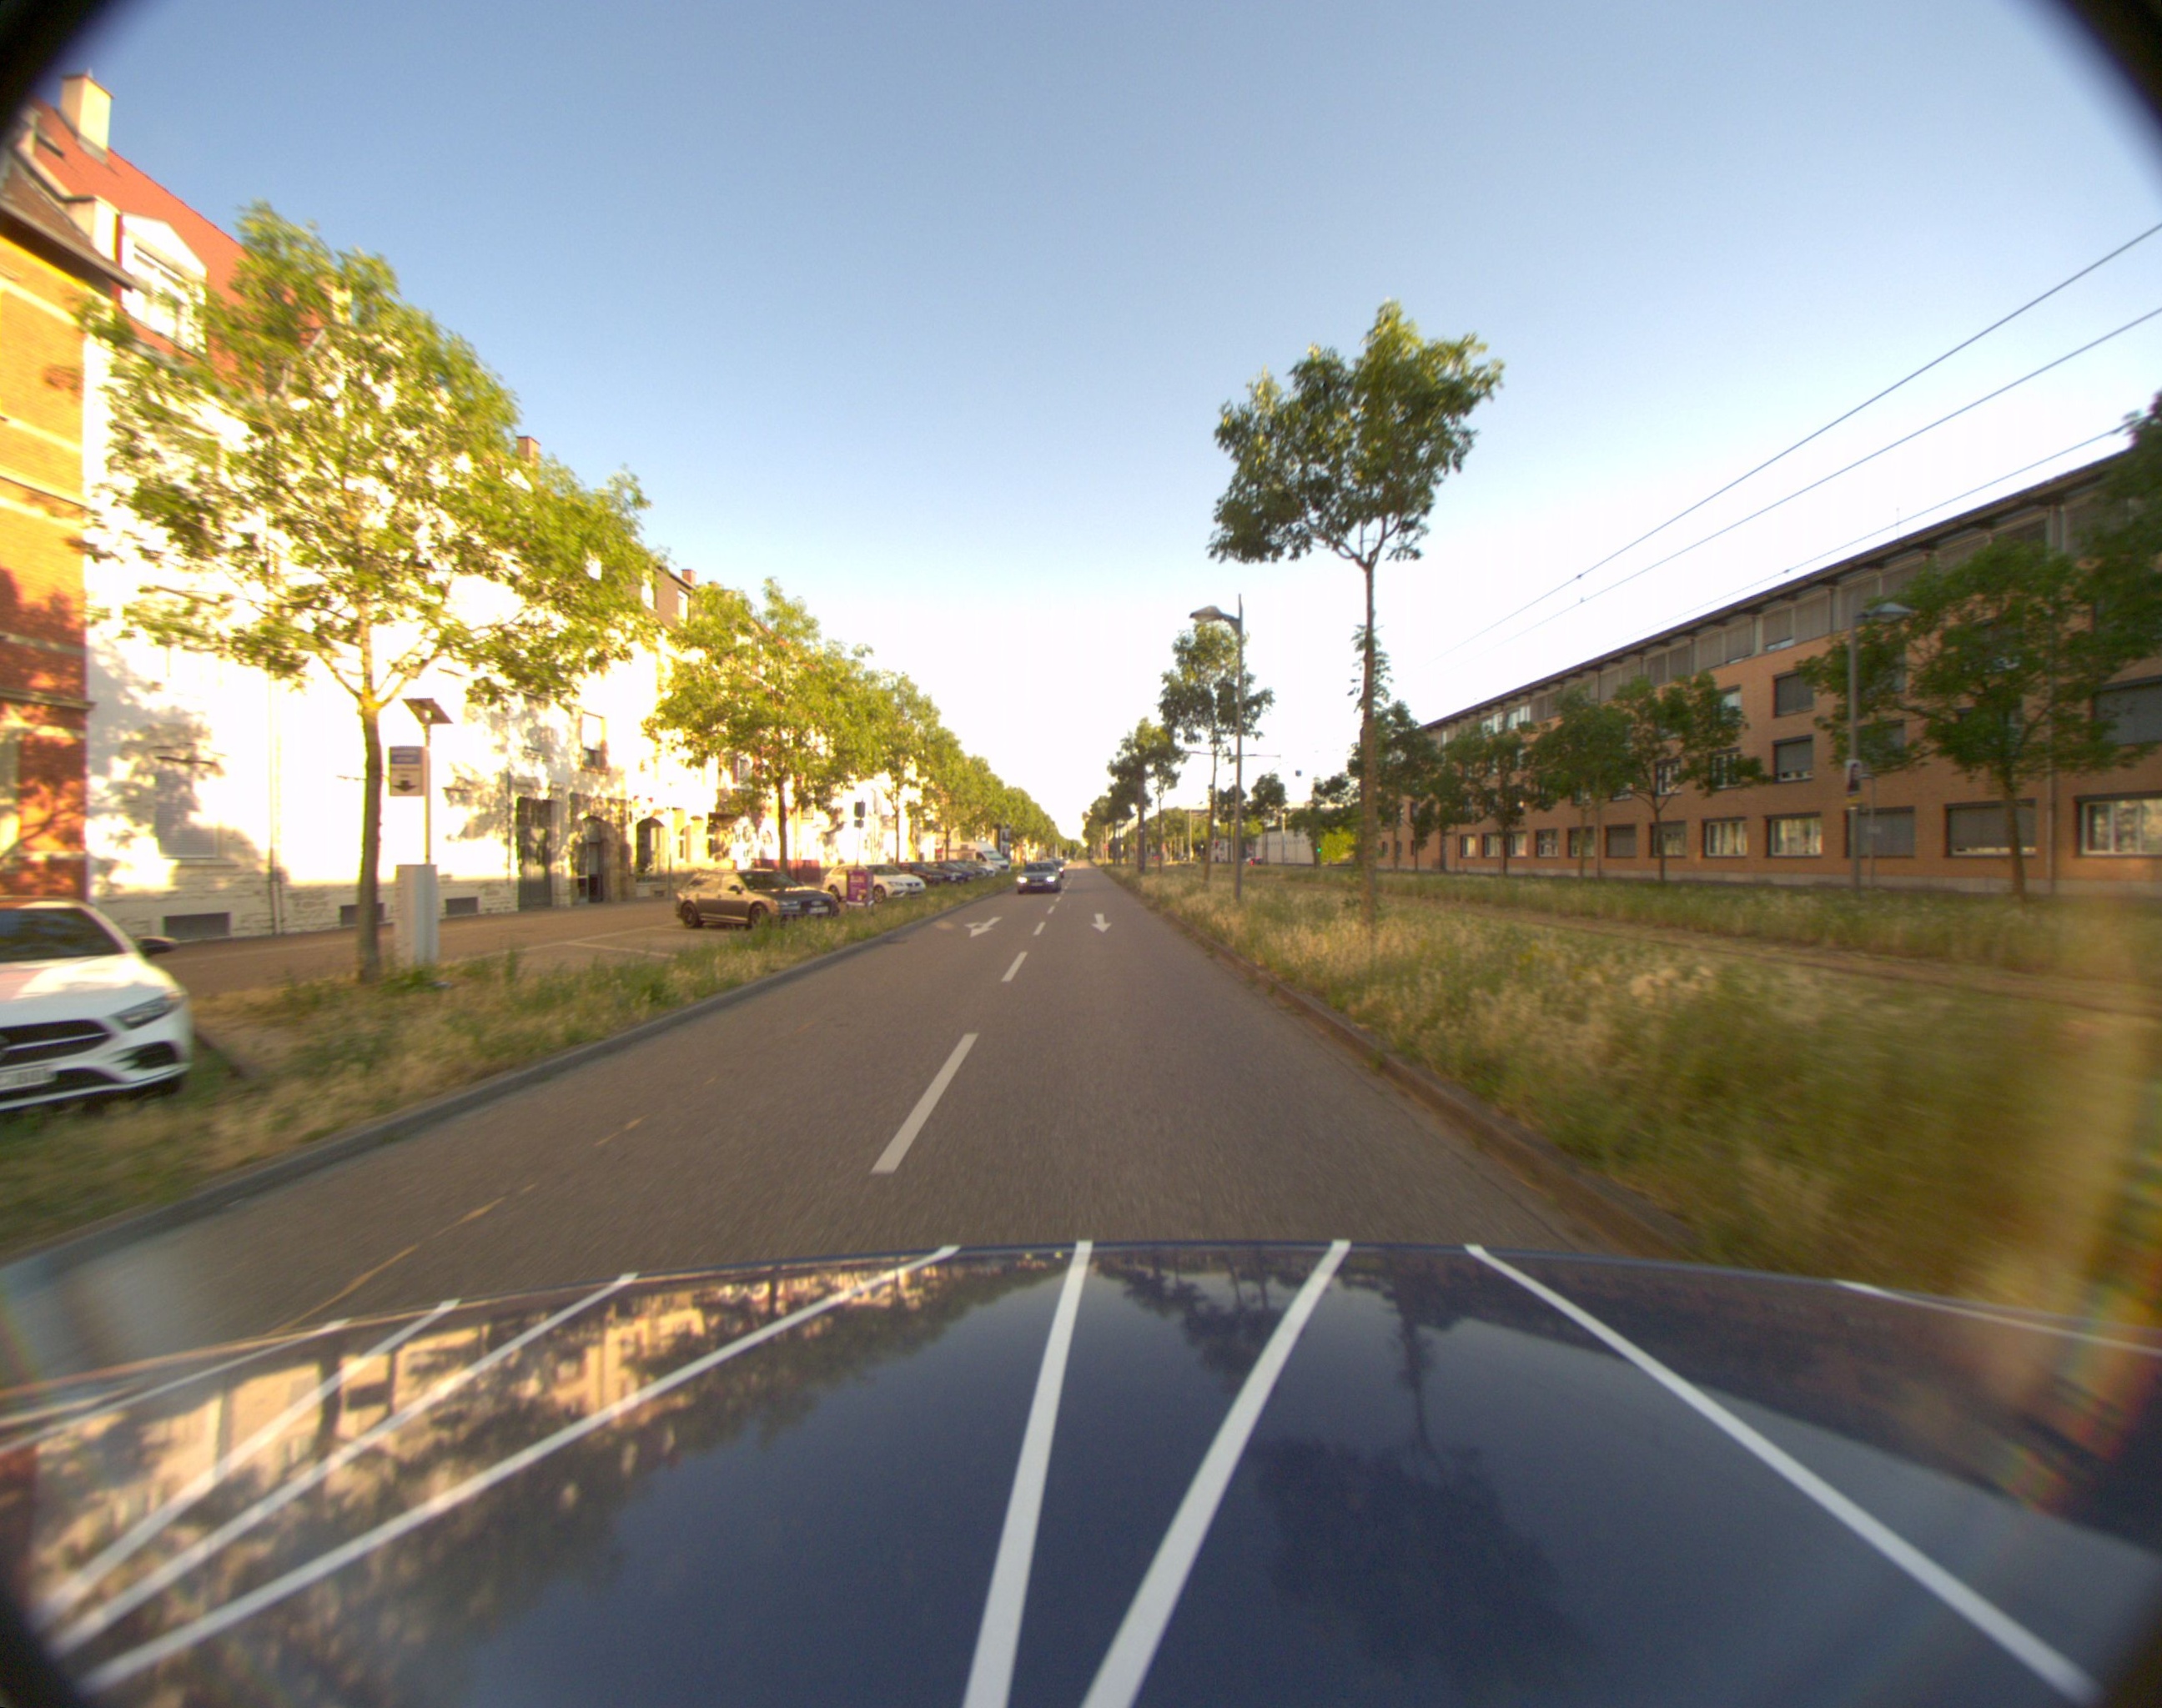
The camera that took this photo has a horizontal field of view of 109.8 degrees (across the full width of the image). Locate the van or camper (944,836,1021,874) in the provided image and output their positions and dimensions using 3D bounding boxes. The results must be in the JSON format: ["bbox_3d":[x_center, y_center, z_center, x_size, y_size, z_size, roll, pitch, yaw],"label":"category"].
[{"bbox_3d":[-7.498,0.071,57.543,5.635,2.796,2.208,-1,1,32],"label":"van or camper"}]

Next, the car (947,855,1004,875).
[{"bbox_3d":[-7.527,0.760,54.232,3.912,1.395,1.799,-1,0,39],"label":"car"}]

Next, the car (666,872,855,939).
[{"bbox_3d":[-7.683,1.130,18.081,4.570,1.340,1.900,-1,1,33],"label":"car"}]

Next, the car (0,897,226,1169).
[{"bbox_3d":[-8.145,1.110,5.328,4.542,1.391,2.035,-1,1,31],"label":"car"}]

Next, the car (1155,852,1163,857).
[{"bbox_3d":[22.184,-0.001,216.459,1.794,1.368,4.000,-1,0,0],"label":"car"}]

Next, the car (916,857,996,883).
[{"bbox_3d":[-7.330,0.925,44.472,4.424,1.415,1.926,-2,0,33],"label":"car"}]

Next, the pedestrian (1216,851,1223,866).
[{"bbox_3d":[15.535,0.480,85.449,0.515,1.674,0.549,-1,-1,-30],"label":"pedestrian"}]

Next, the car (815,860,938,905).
[{"bbox_3d":[-7.606,0.993,28.037,4.633,1.501,1.851,-1,0,36],"label":"car"}]

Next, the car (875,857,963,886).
[{"bbox_3d":[-8.293,0.906,38.782,4.424,1.408,1.889,-2,0,37],"label":"car"}]

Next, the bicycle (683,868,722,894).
[{"bbox_3d":[-16.454,1.159,33.099,0.589,1.072,2.228,1,0,0],"label":"bicycle"}]

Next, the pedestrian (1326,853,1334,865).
[{"bbox_3d":[27.290,0.534,83.343,0.587,1.359,0.575,-1,1,-6],"label":"pedestrian"}]

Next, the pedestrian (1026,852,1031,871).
[{"bbox_3d":[-5.867,0.832,84.660,0.514,2.002,0.599,-1,1,0],"label":"pedestrian"}]

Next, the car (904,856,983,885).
[{"bbox_3d":[-7.505,0.900,41.458,4.042,1.429,1.730,-1,1,29],"label":"car"}]

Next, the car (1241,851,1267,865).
[{"bbox_3d":[18.061,0.390,79.266,1.794,1.368,4.000,-1,0,0],"label":"car"}]

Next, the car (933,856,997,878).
[{"bbox_3d":[-7.854,0.841,51.372,4.264,1.395,1.799,-1,0,38],"label":"car"}]

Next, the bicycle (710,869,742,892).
[{"bbox_3d":[-16.446,1.201,35.230,0.580,0.985,1.928,-1,0,0],"label":"bicycle"}]

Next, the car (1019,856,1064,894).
[{"bbox_3d":[-1.870,0.950,35.762,1.999,1.655,3.999,0,0,-3],"label":"car"}]
